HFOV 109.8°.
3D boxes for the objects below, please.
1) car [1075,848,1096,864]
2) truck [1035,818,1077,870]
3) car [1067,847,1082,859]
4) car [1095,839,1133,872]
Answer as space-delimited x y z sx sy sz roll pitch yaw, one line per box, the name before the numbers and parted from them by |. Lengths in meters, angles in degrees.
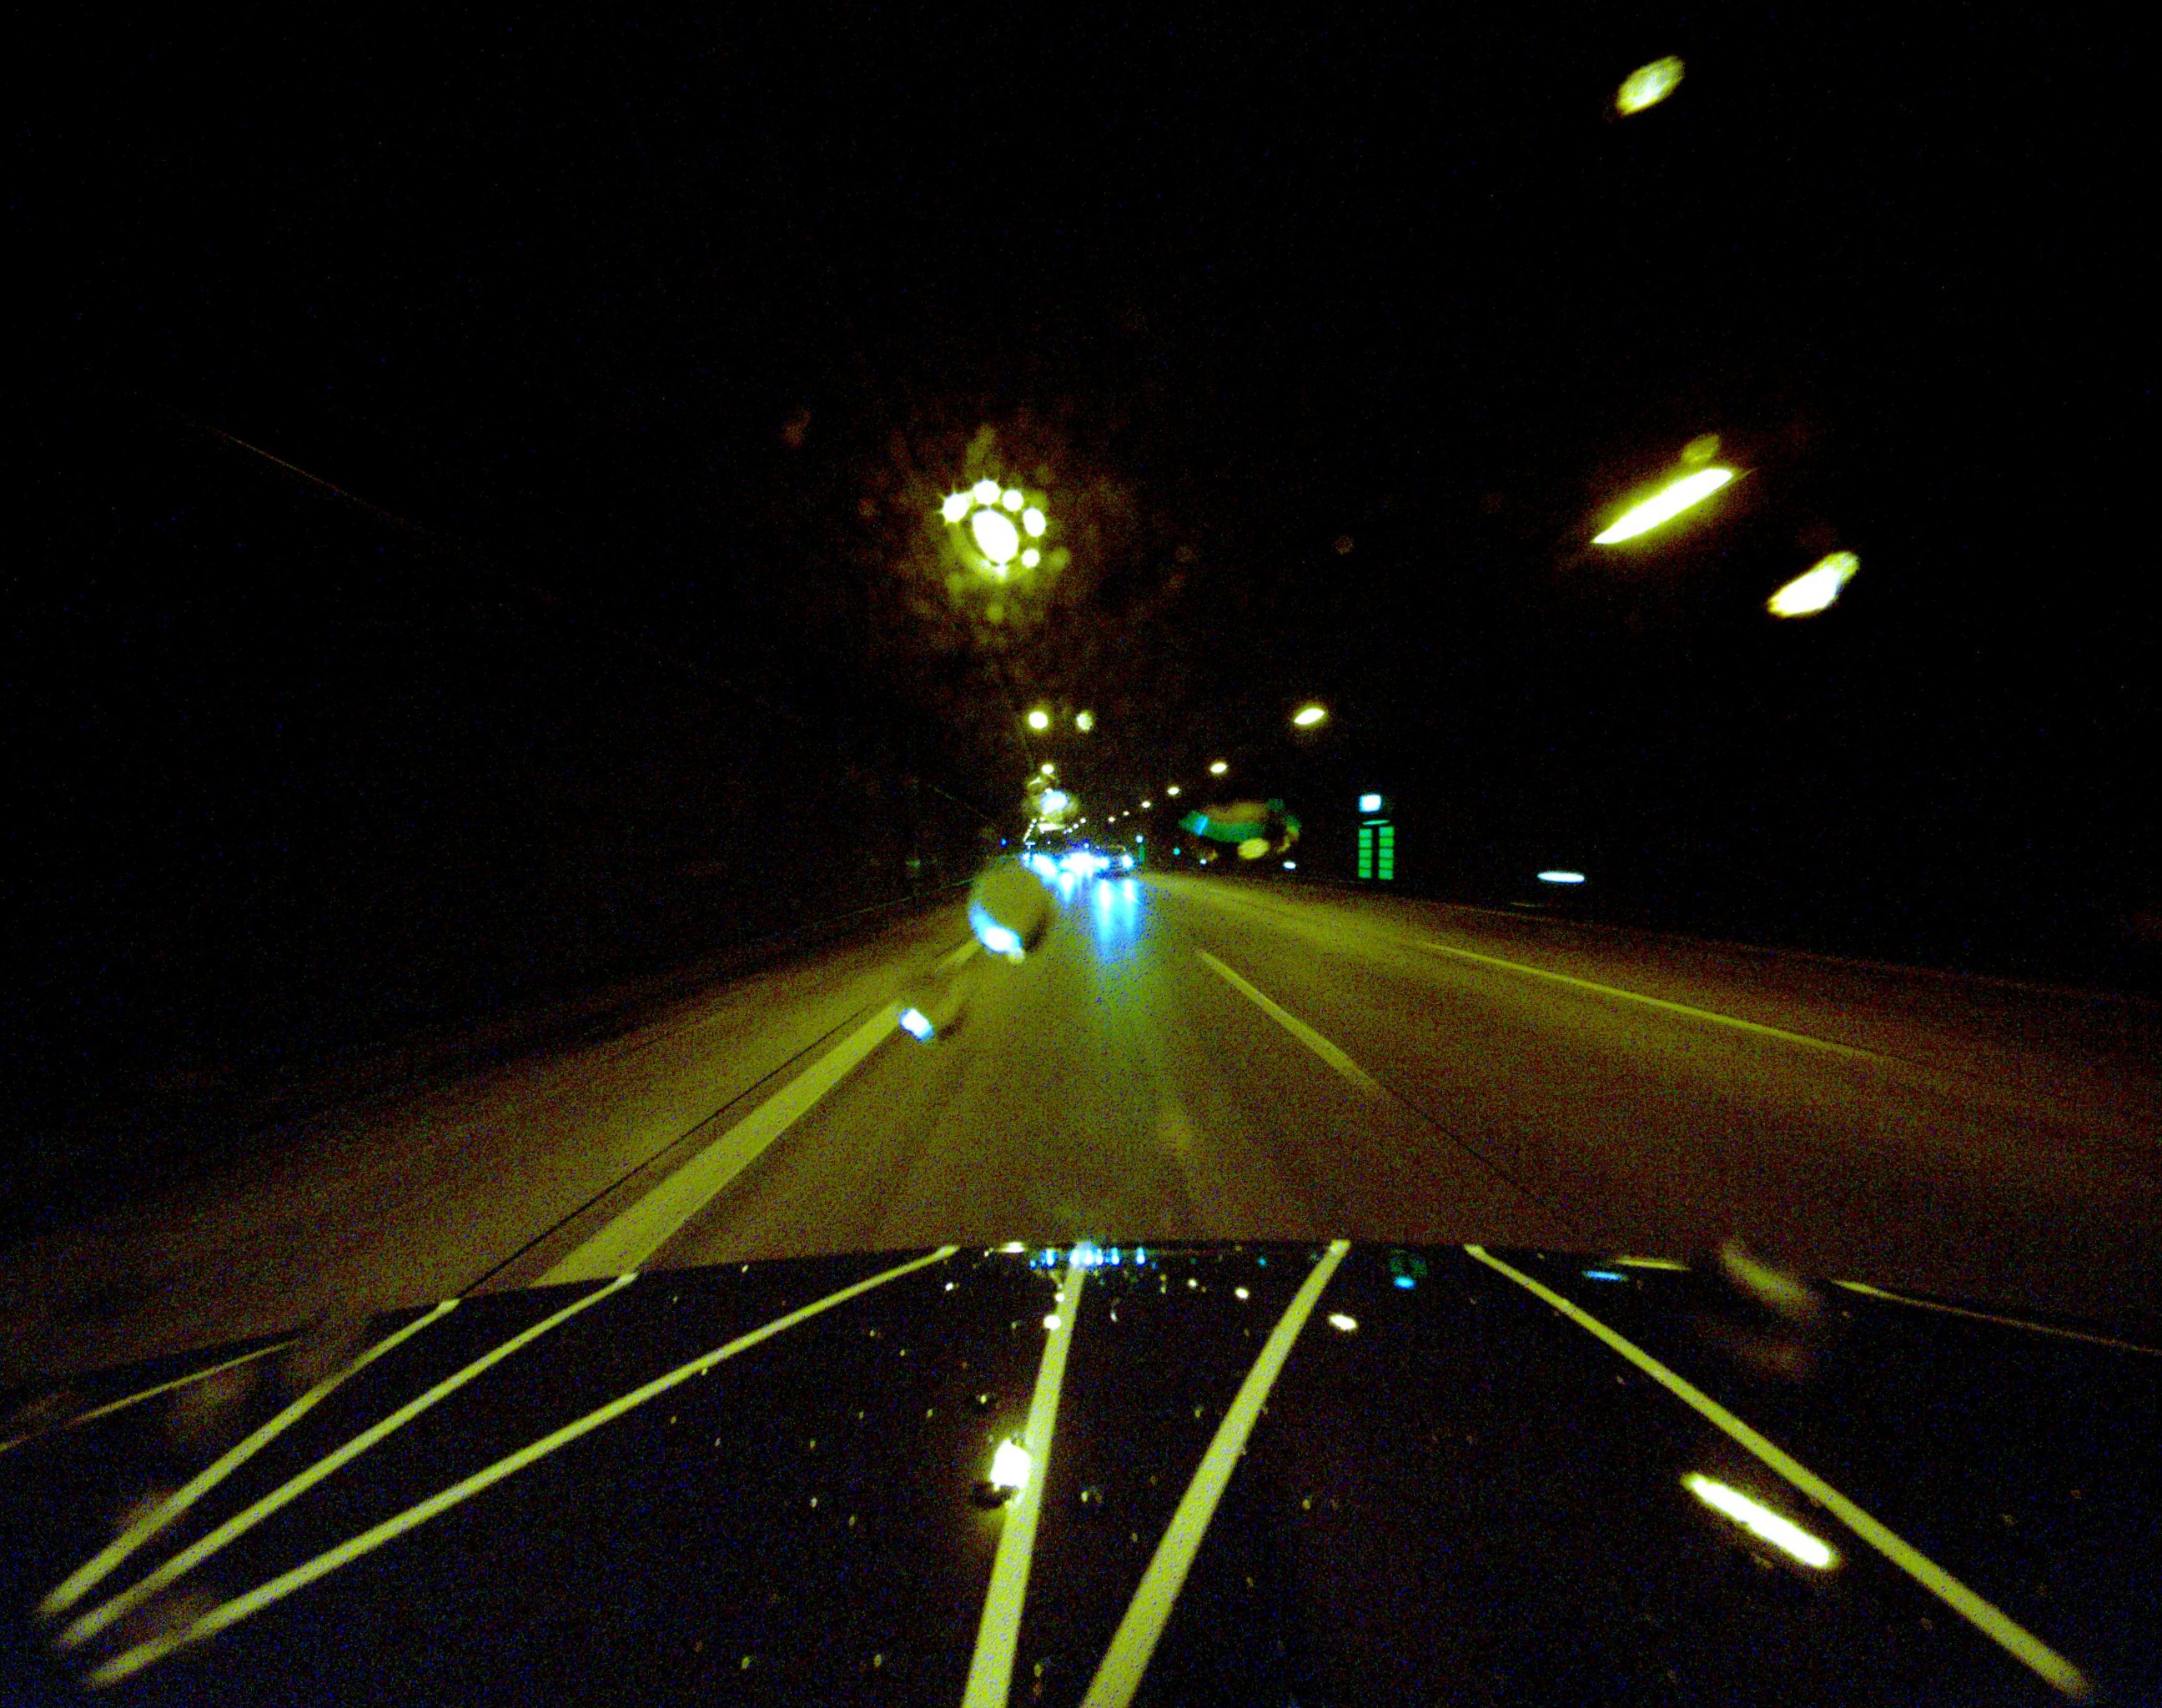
car | 0.504 0.239 82.032 1.911 1.638 3.998 -2 0 -4
truck | -2.249 -0.848 66.001 3.143 4.136 7.384 -2 1 -5
car | -0.881 -0.161 104.421 1.759 1.567 3.998 -2 0 -4
car | 2.123 0.122 49.863 1.999 2.001 4.360 -1 -1 -4
